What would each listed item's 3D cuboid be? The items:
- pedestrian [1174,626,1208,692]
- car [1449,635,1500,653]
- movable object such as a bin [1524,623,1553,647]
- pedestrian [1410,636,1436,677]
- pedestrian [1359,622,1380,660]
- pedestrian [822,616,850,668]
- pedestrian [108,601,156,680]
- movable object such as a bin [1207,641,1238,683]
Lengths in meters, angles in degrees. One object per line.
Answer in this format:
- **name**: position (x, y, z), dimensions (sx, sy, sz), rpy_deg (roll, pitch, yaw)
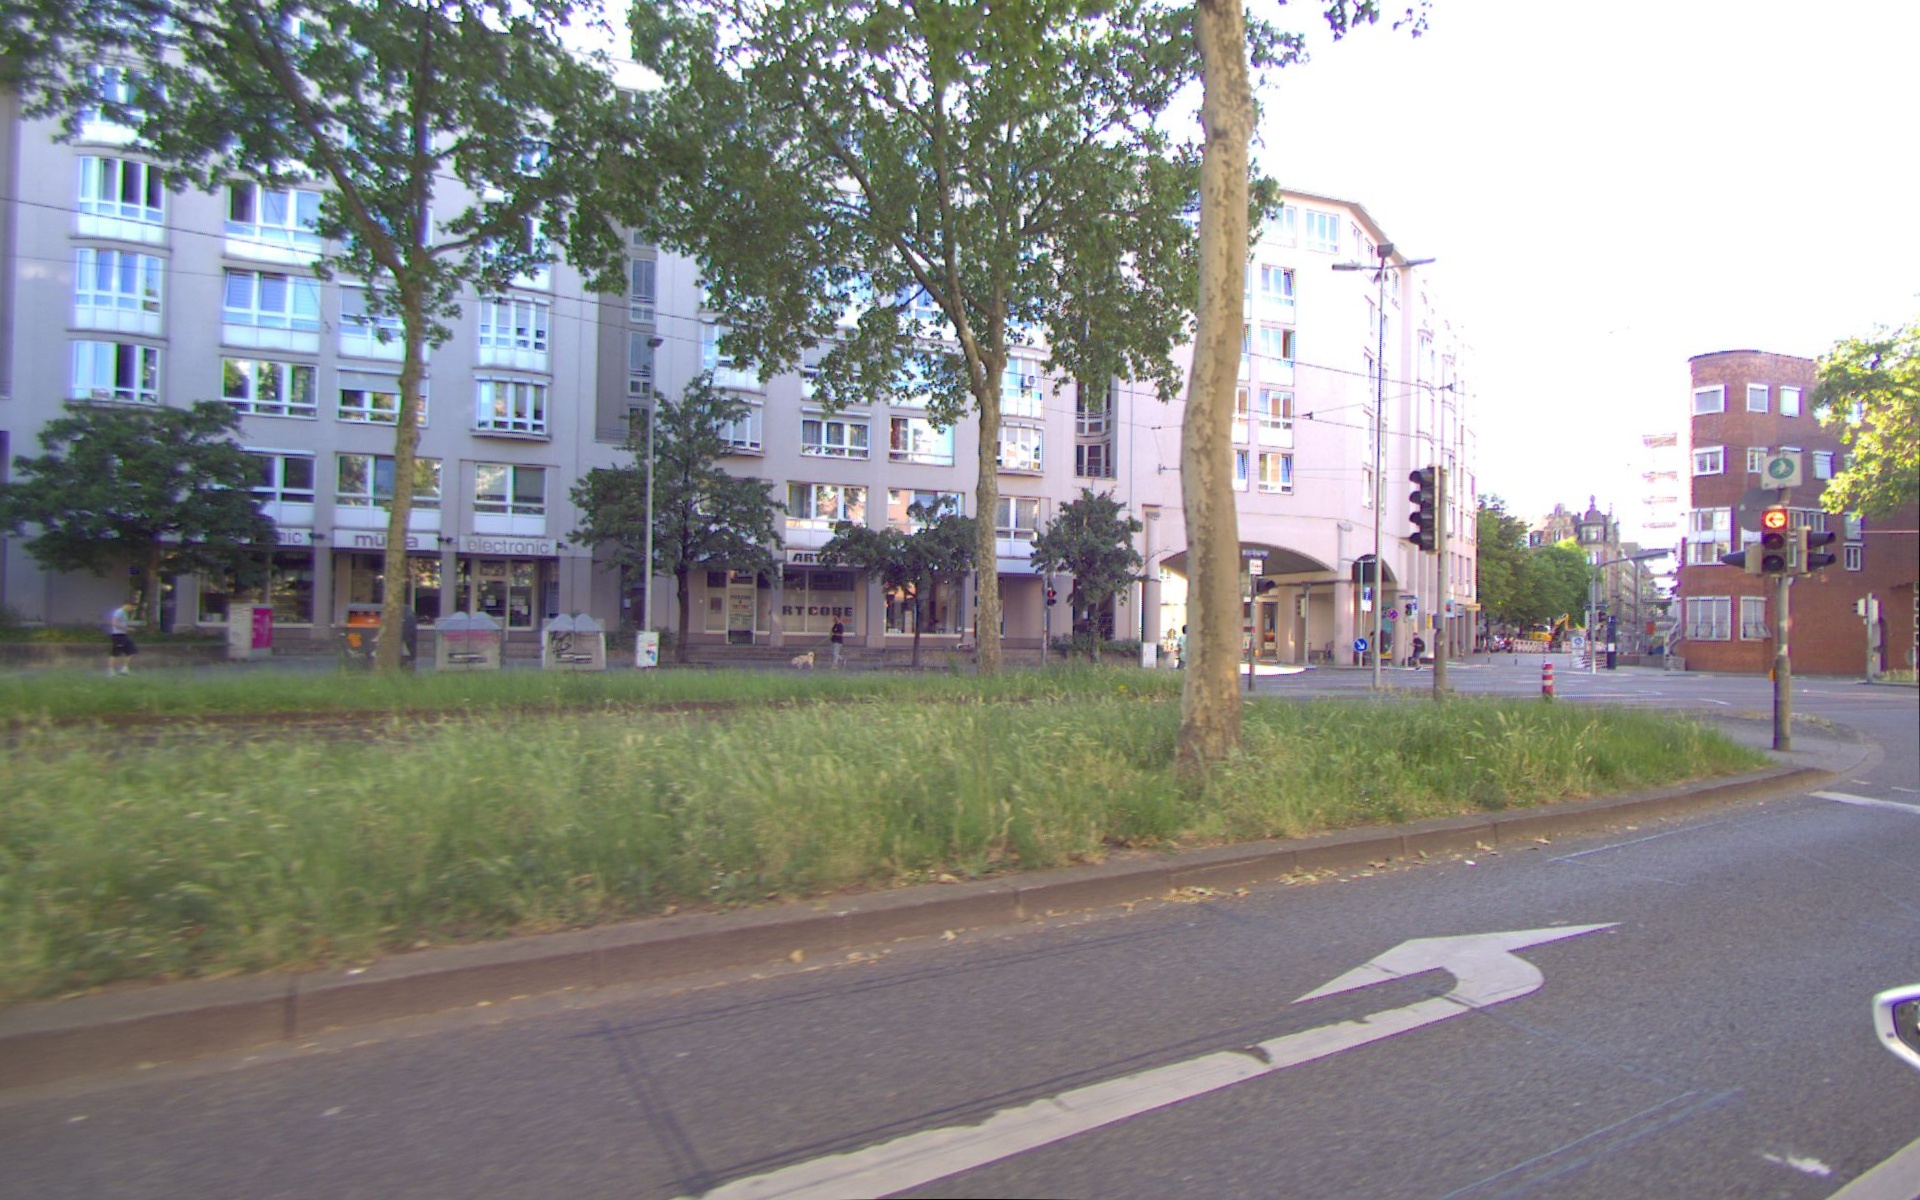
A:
- **pedestrian**: position (5.487, 1.395, 23.887), dimensions (0.526, 1.523, 0.618), rpy_deg (1, -1, -16)
- **car**: position (45.001, 3.822, 87.901), dimensions (3.926, 1.419, 1.998), rpy_deg (1, -1, 28)
- **movable object such as a bin**: position (59.441, 3.608, 103.118), dimensions (2.769, 2.341, 1.908), rpy_deg (2, -2, -44)
- **pedestrian**: position (21.692, 2.653, 47.063), dimensions (0.739, 1.894, 0.856), rpy_deg (1, -1, -12)
- **pedestrian**: position (22.268, 2.210, 54.618), dimensions (0.826, 2.040, 0.882), rpy_deg (0, -1, 44)
- **pedestrian**: position (-4.068, 1.377, 33.022), dimensions (0.776, 1.660, 0.706), rpy_deg (1, -1, -18)
- **pedestrian**: position (-19.023, 0.925, 23.092), dimensions (0.639, 1.763, 0.726), rpy_deg (1, -1, -26)
- **movable object such as a bin**: position (6.194, 1.469, 23.711), dimensions (0.530, 0.966, 0.510), rpy_deg (1, -1, -16)
